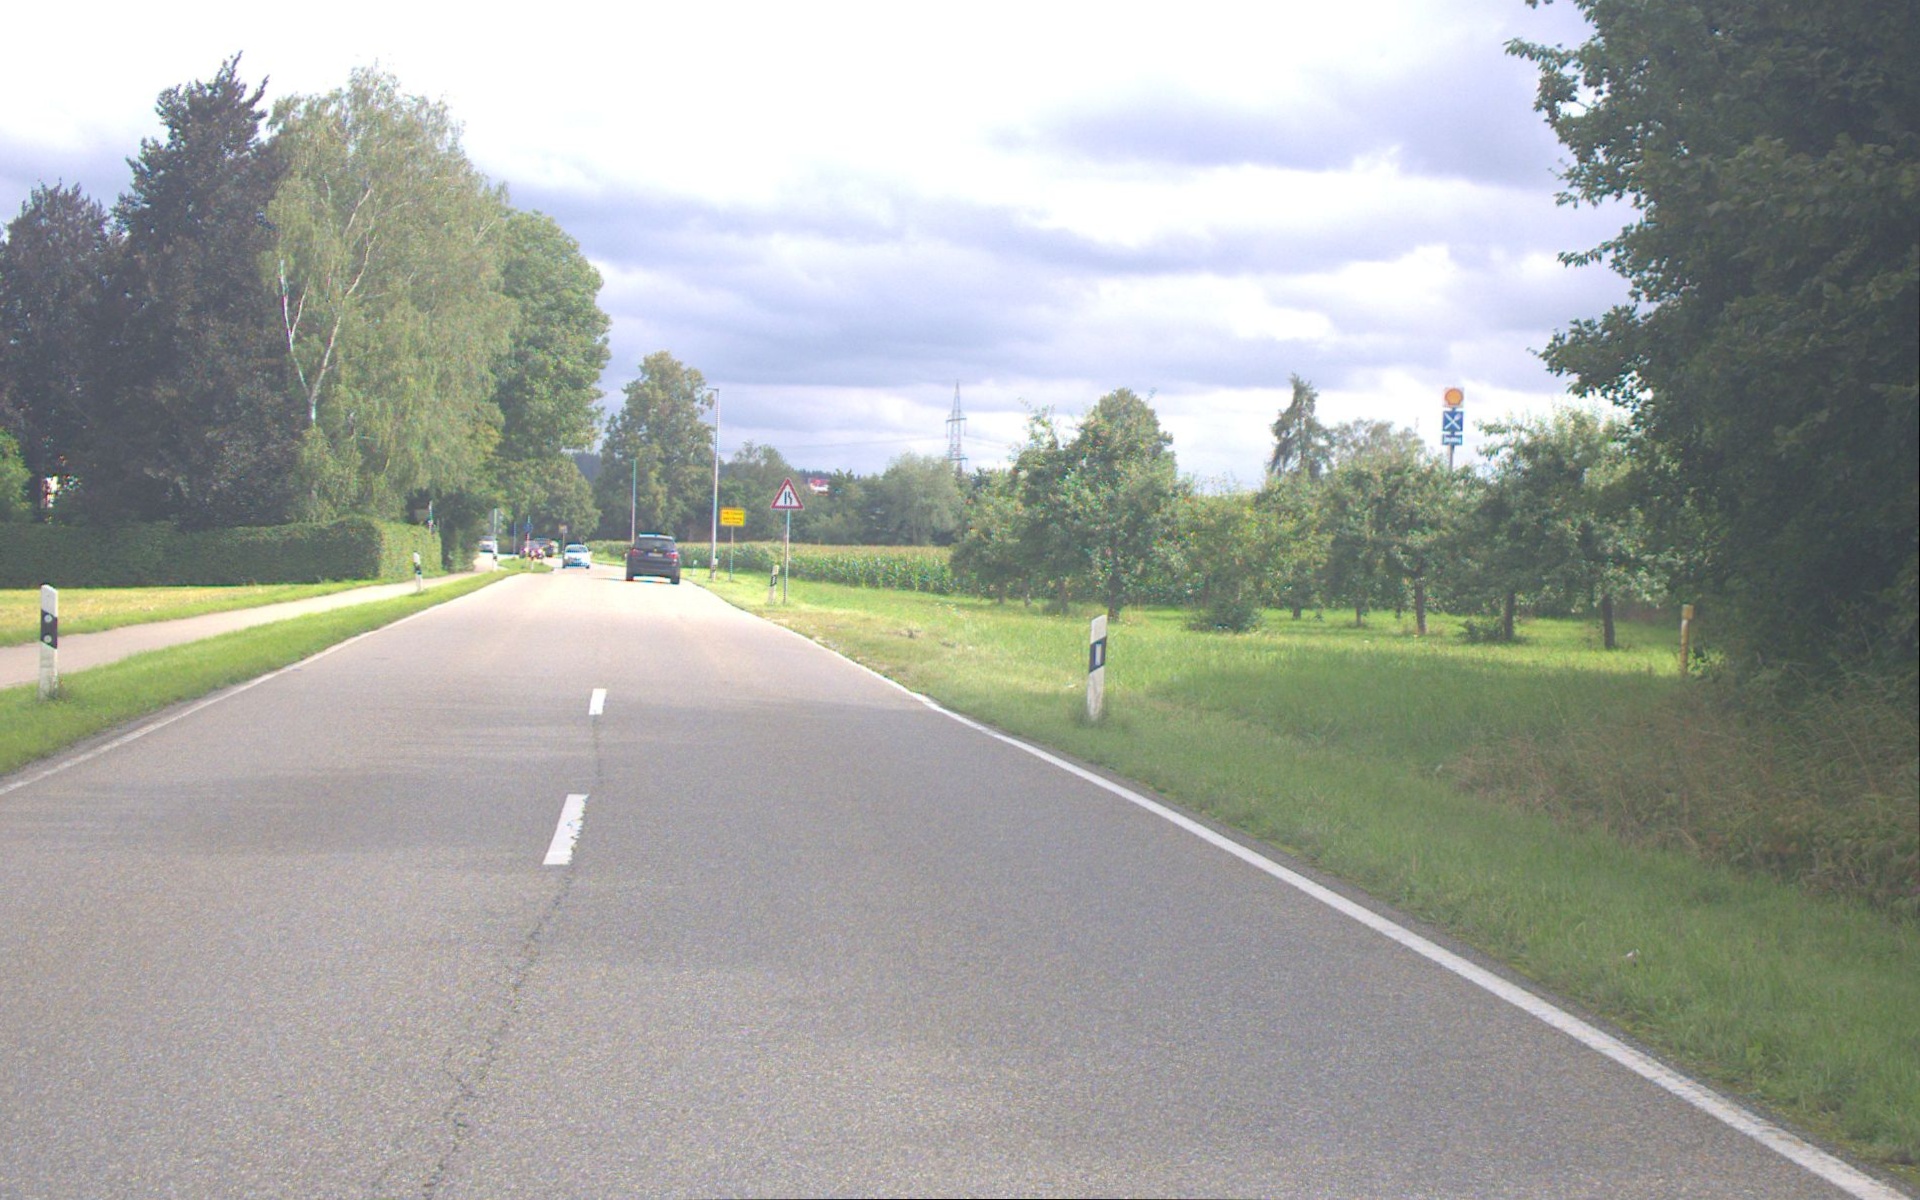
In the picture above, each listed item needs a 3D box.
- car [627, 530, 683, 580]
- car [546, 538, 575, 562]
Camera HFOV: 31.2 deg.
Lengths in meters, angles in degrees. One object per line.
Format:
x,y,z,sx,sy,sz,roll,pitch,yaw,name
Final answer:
-10.695,-1.588,120.492,1.906,1.660,4.001,1,1,-5,car
-25.062,-3.146,215.759,1.694,1.454,3.544,2,1,-6,car
